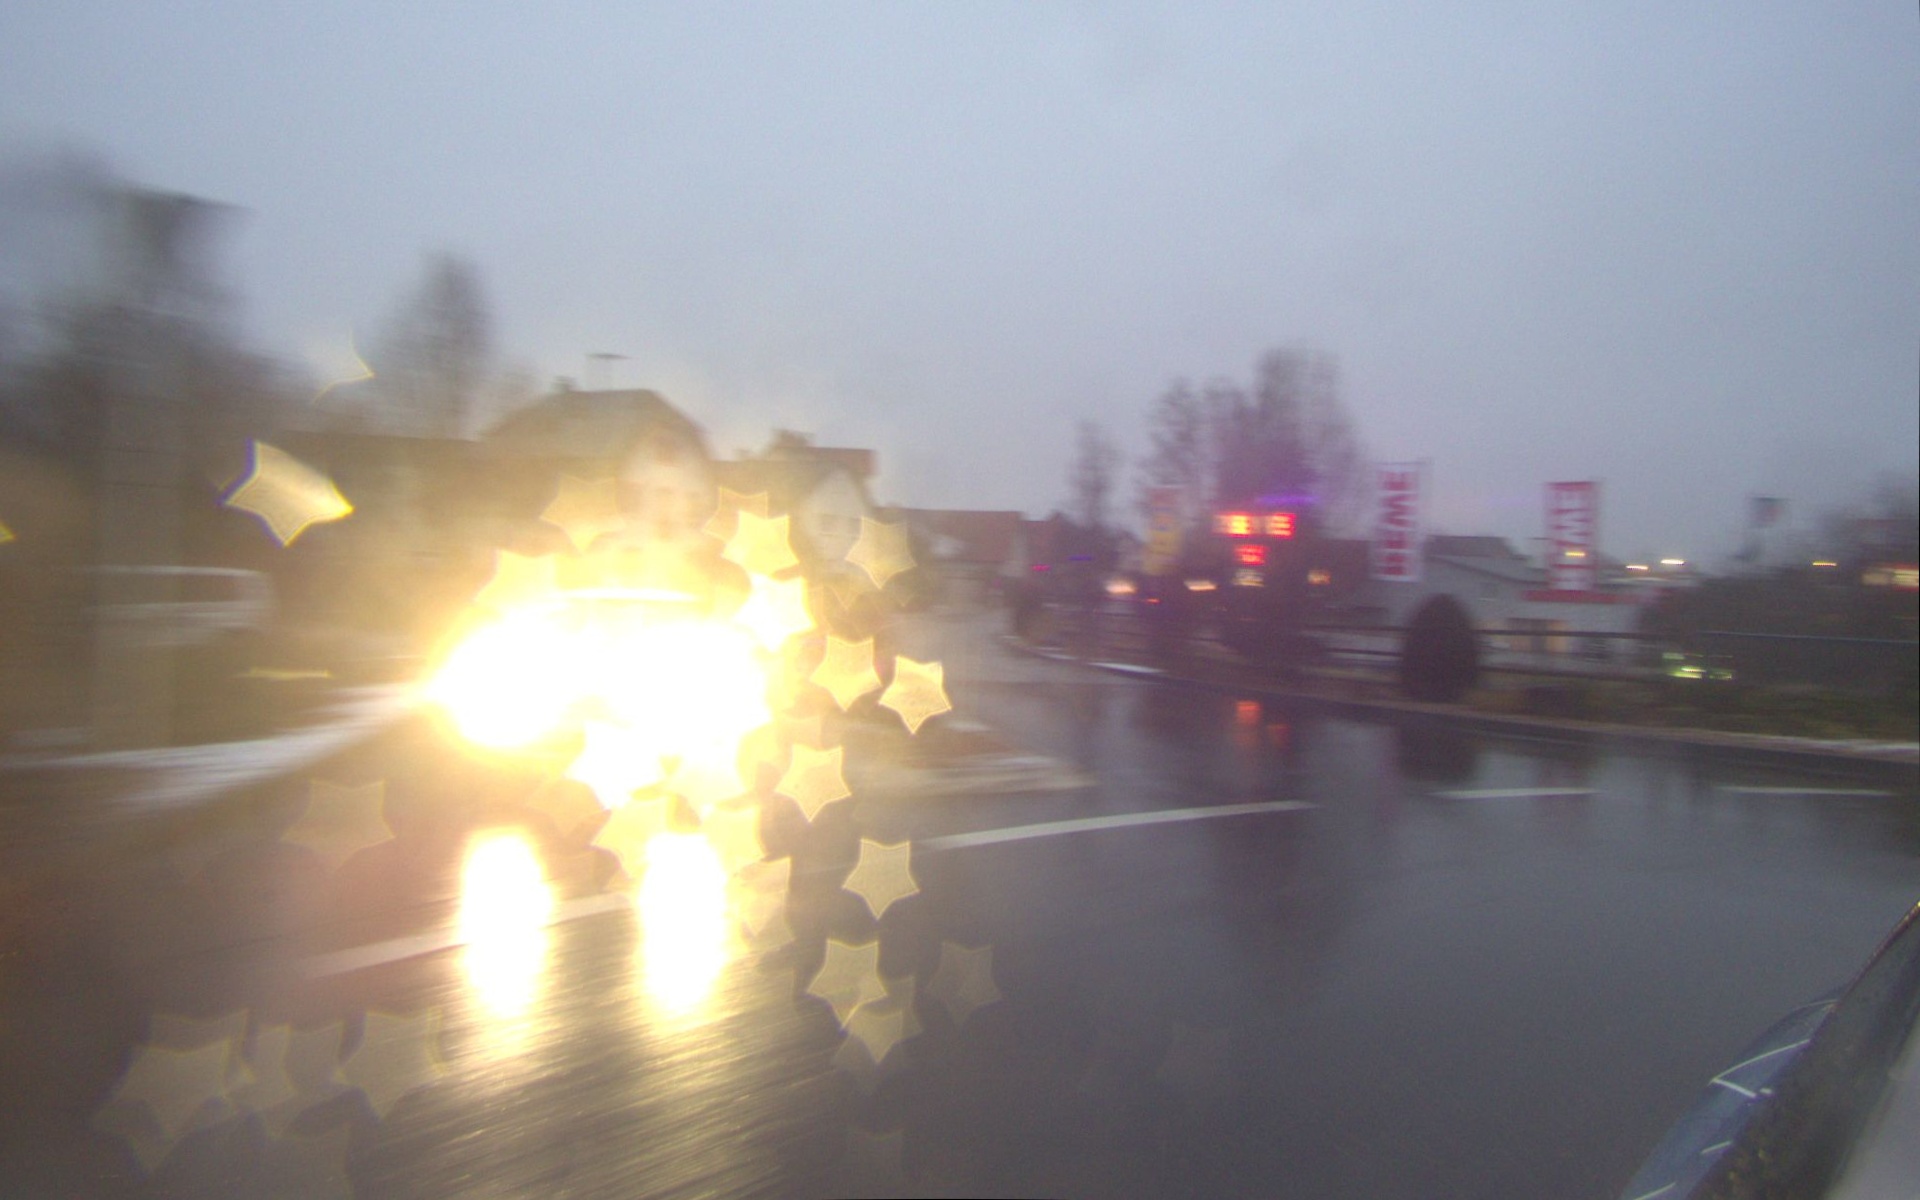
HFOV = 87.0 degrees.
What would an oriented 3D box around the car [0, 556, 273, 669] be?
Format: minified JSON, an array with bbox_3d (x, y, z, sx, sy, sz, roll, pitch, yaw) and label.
[{"bbox_3d":[-16.735,0.212,19.906,1.914,1.943,5.213,0,0,20],"label":"car"}]

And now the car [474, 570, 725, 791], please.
[{"bbox_3d":[-2.928,0.547,8.920,1.628,1.511,3.718,0,0,-12],"label":"car"}]

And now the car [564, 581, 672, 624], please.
[{"bbox_3d":[-14.216,0.062,42.144,3.951,1.504,1.903,3,3,20],"label":"car"}]
